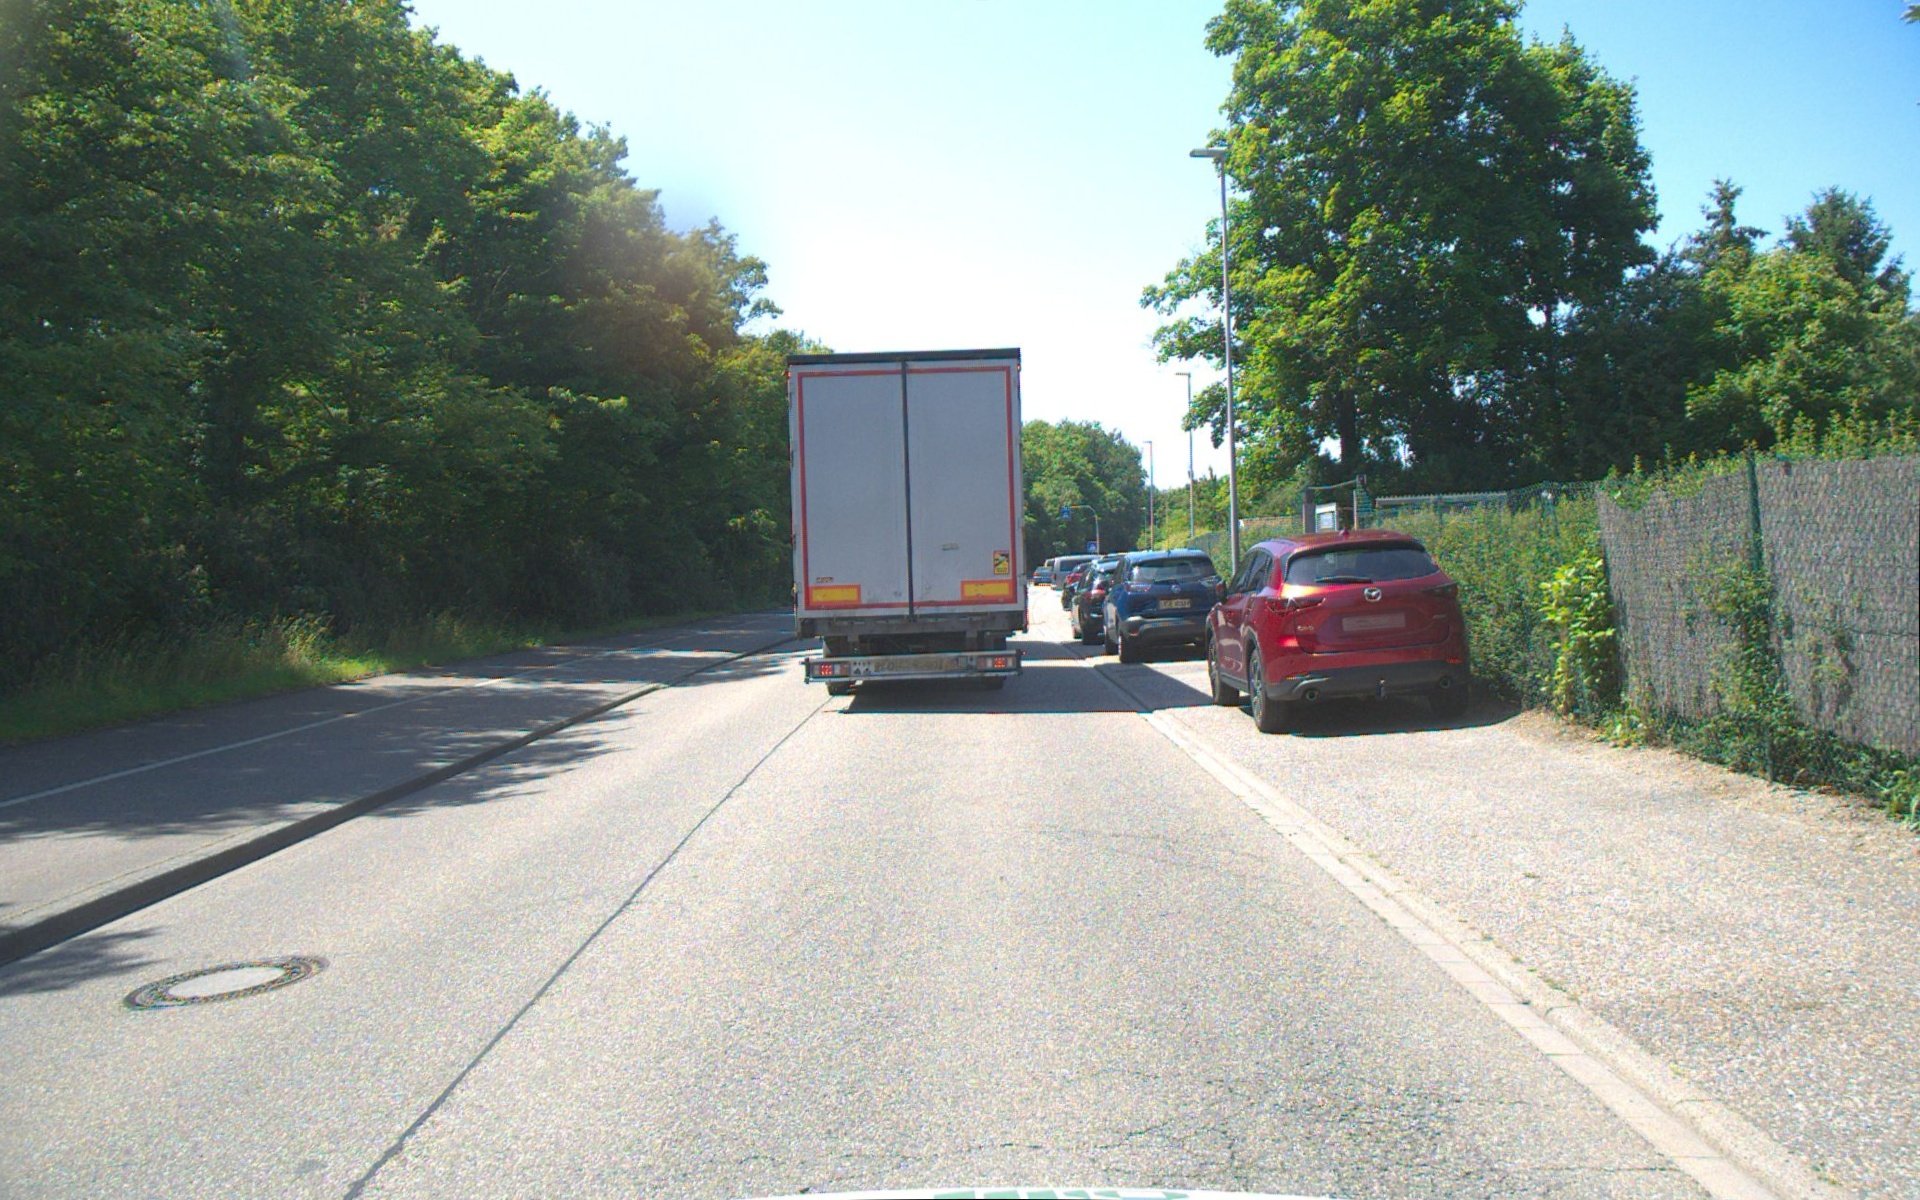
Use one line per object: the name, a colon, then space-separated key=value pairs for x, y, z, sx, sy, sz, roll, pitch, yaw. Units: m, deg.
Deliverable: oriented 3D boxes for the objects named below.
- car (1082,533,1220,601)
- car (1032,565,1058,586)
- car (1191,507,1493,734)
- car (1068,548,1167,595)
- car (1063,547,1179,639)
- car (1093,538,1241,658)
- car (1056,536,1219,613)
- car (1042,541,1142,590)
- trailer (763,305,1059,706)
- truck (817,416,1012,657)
car: x=6.036 y=-1.045 z=52.676 sx=4.169 sy=1.727 sz=1.855 roll=-5 pitch=1 yaw=4
car: x=6.431 y=-1.880 z=124.624 sx=1.743 sy=1.512 sz=4.003 roll=-1 pitch=1 yaw=6
car: x=3.432 y=0.112 z=15.726 sx=1.753 sy=1.686 sz=4.453 roll=-6 pitch=1 yaw=1
car: x=6.348 y=-1.167 z=67.042 sx=3.838 sy=1.503 sz=1.846 roll=-6 pitch=1 yaw=3
car: x=3.080 y=-0.189 z=32.418 sx=1.753 sy=1.507 sz=4.666 roll=-6 pitch=1 yaw=1
car: x=3.155 y=-0.095 z=25.975 sx=1.753 sy=1.631 sz=4.130 roll=-3 pitch=2 yaw=0
car: x=5.071 y=-0.752 z=47.710 sx=4.380 sy=1.733 sz=1.914 roll=-6 pitch=1 yaw=0
car: x=6.279 y=-1.648 z=78.788 sx=4.525 sy=1.879 sz=1.997 roll=-6 pitch=1 yaw=4
trailer: x=-0.651 y=-1.131 z=23.243 sx=3.050 sy=4.173 sz=11.534 roll=-1 pitch=1 yaw=-1
truck: x=-0.786 y=-1.086 z=29.653 sx=3.050 sy=3.790 sz=6.413 roll=-1 pitch=1 yaw=-1
